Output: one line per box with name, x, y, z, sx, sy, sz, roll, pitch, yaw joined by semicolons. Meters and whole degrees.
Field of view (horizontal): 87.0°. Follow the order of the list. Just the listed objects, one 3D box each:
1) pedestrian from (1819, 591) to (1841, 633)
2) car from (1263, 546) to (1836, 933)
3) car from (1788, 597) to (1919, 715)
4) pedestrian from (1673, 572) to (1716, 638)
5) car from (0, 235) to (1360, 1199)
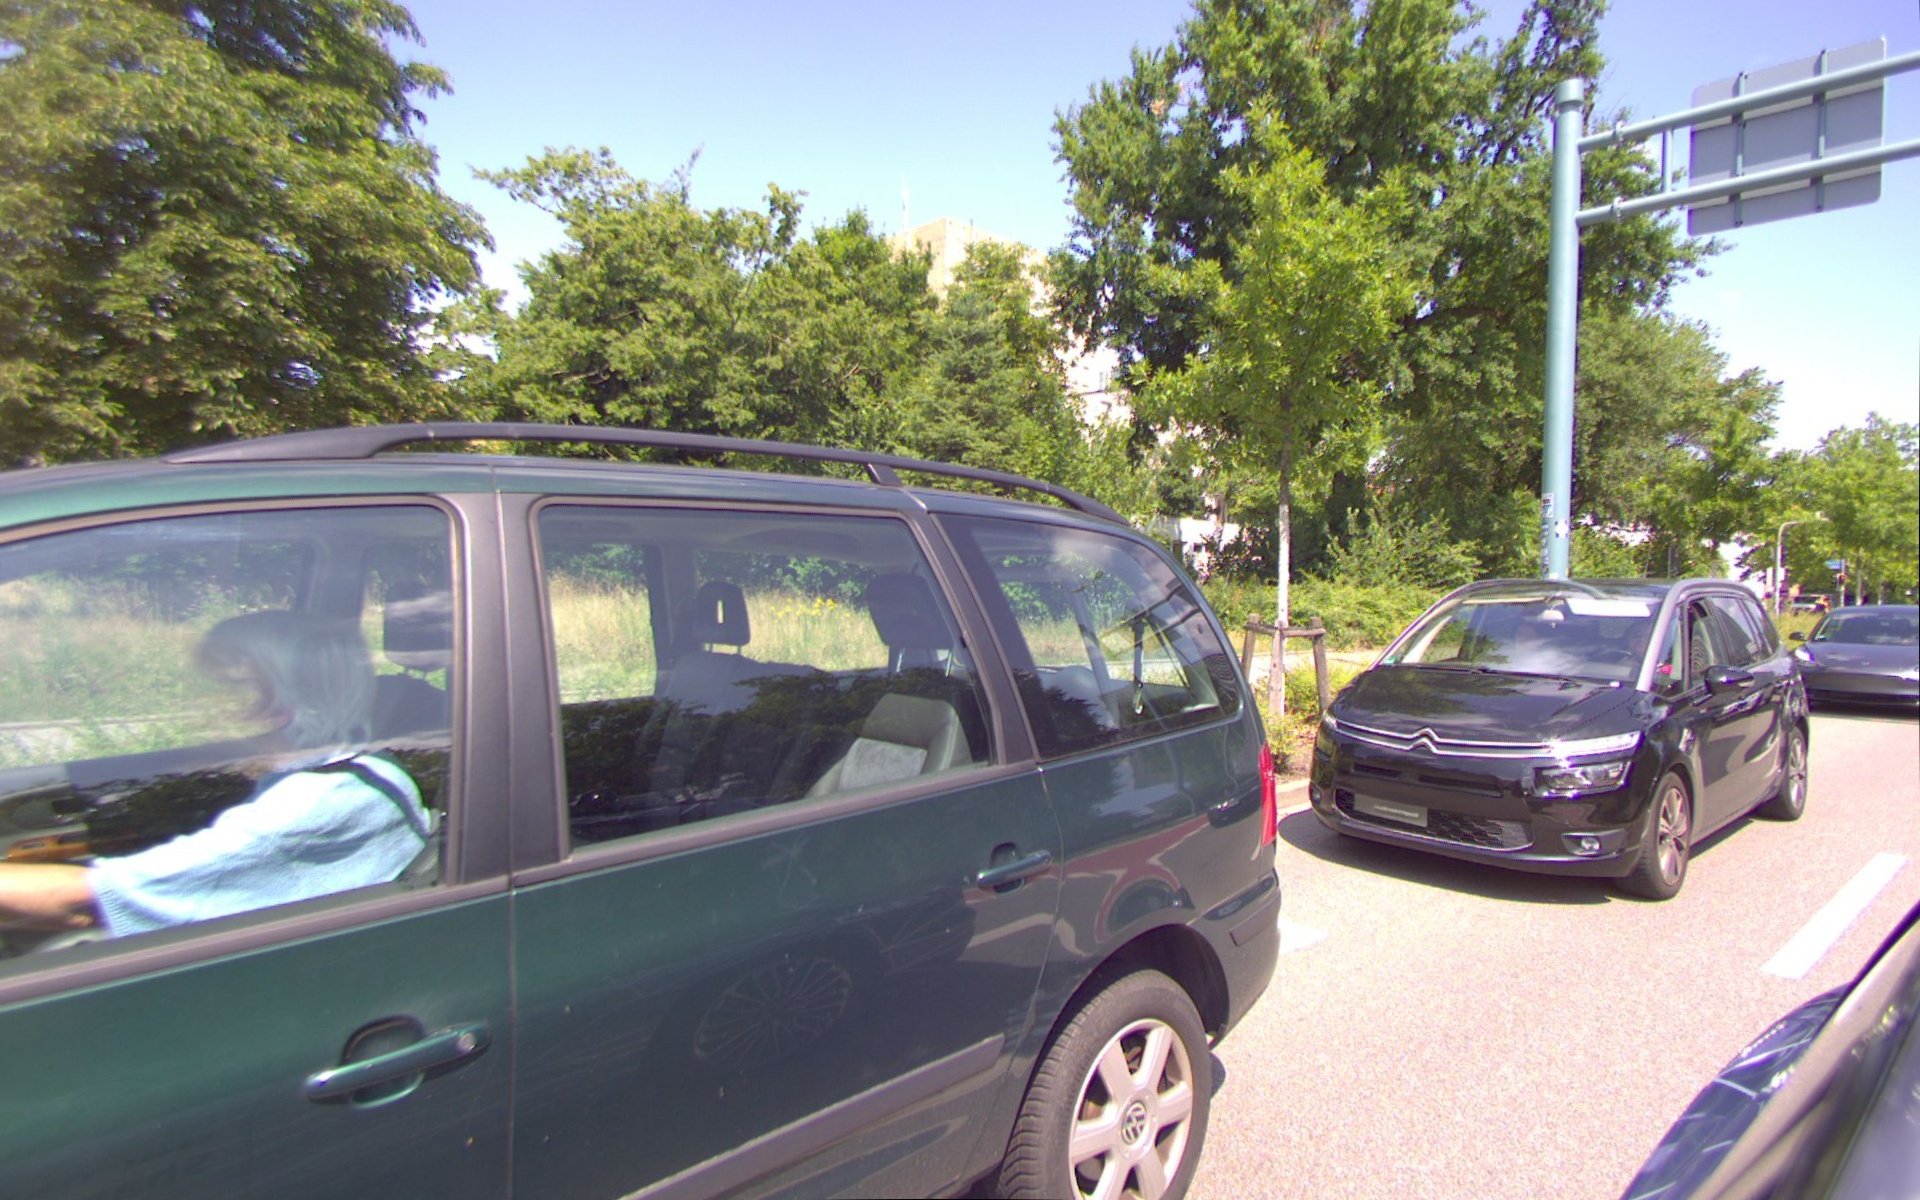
pedestrian;38.571;0.524;44.880;0.636;1.787;0.874;2;1;38
car;3.941;0.601;6.403;4.400;1.628;1.815;1;-1;-41
car;13.113;0.691;14.062;4.085;1.386;1.805;-1;2;-41
pedestrian;23.576;0.155;32.503;0.884;2.063;0.846;1;0;-36
car;-1.141;0.526;1.962;4.315;1.737;1.804;0;-1;-41
